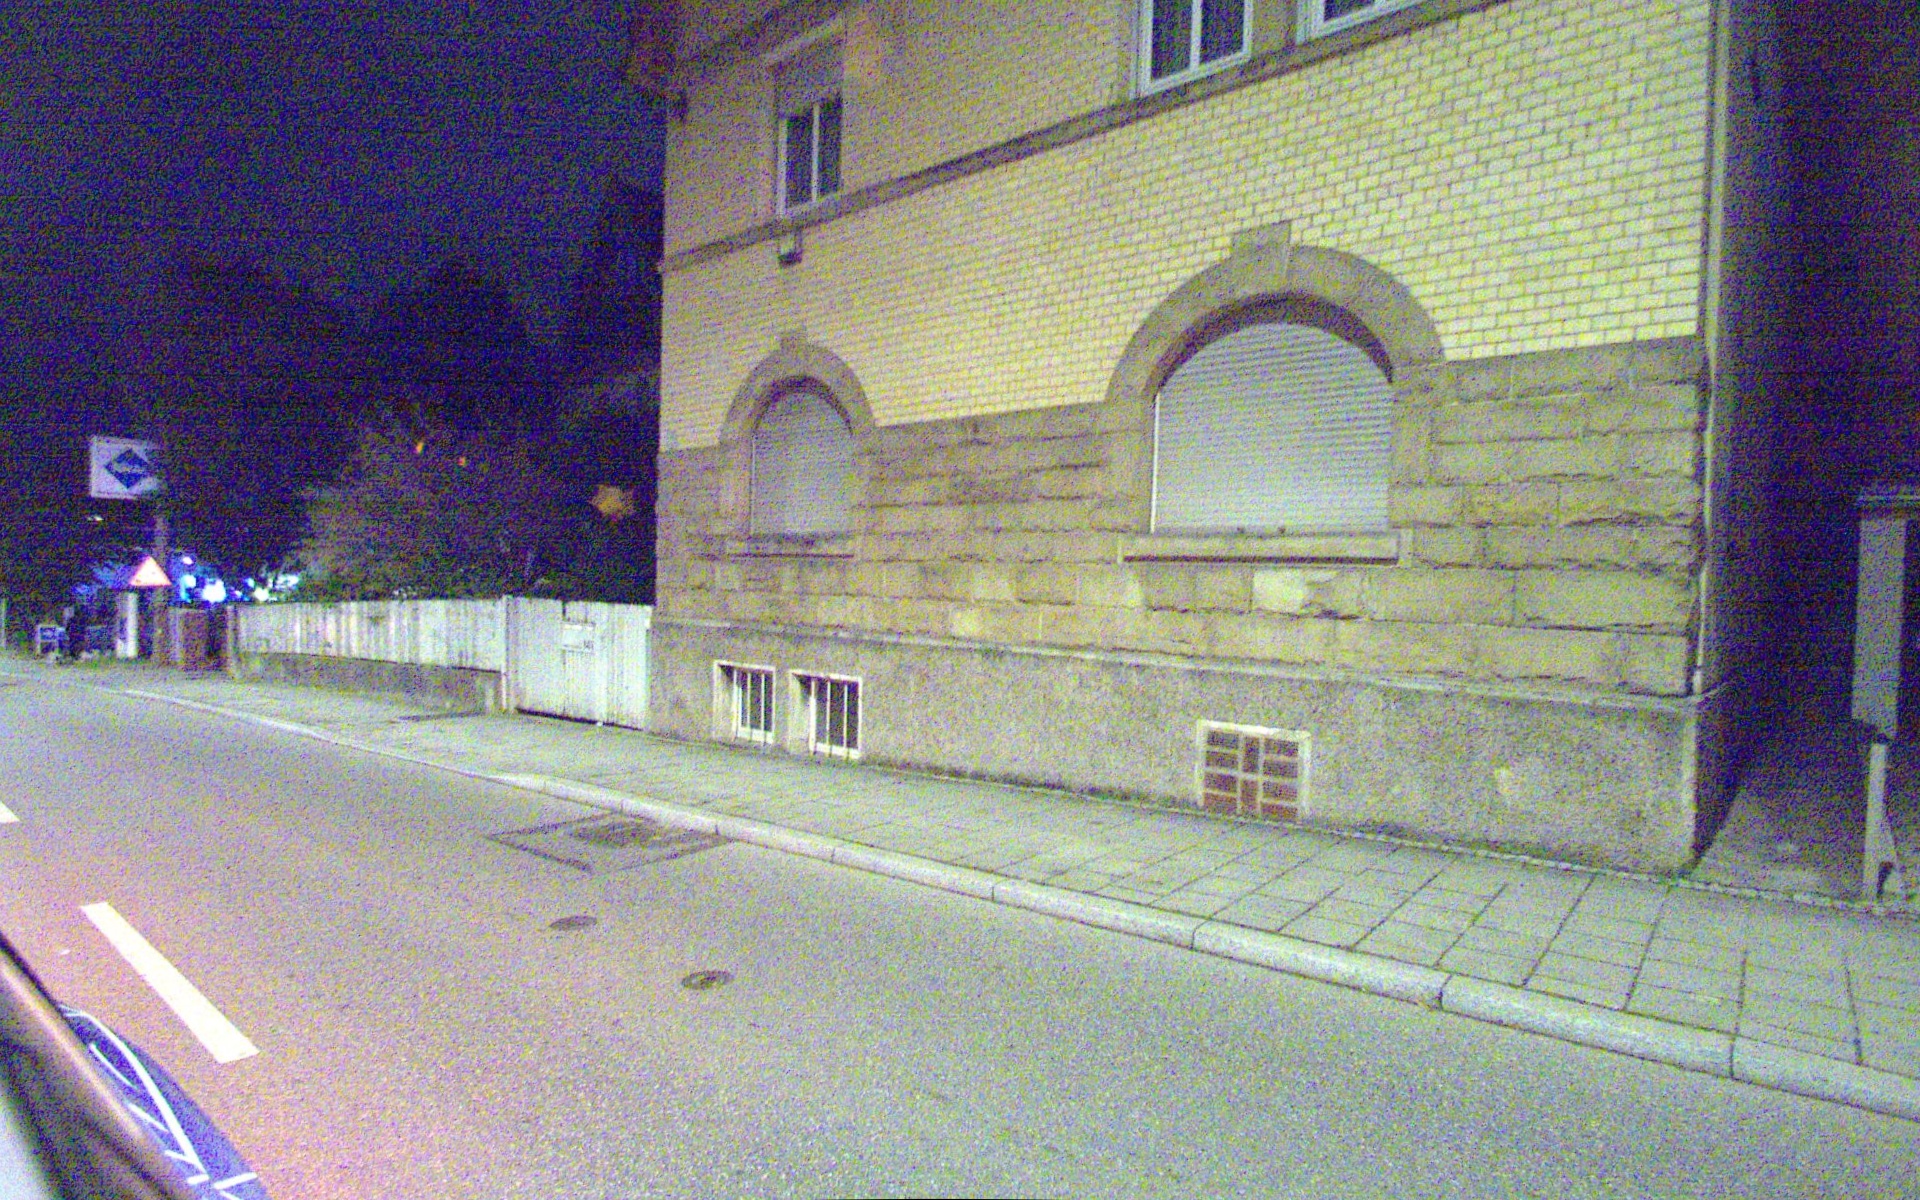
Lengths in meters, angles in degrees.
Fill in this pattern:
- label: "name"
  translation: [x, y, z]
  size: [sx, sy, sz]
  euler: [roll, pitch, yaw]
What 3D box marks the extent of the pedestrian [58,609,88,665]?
- label: "pedestrian"
  translation: [-28.283, 1.174, 32.269]
  size: [0.500, 1.773, 0.664]
  euler: [-1, 0, 41]
